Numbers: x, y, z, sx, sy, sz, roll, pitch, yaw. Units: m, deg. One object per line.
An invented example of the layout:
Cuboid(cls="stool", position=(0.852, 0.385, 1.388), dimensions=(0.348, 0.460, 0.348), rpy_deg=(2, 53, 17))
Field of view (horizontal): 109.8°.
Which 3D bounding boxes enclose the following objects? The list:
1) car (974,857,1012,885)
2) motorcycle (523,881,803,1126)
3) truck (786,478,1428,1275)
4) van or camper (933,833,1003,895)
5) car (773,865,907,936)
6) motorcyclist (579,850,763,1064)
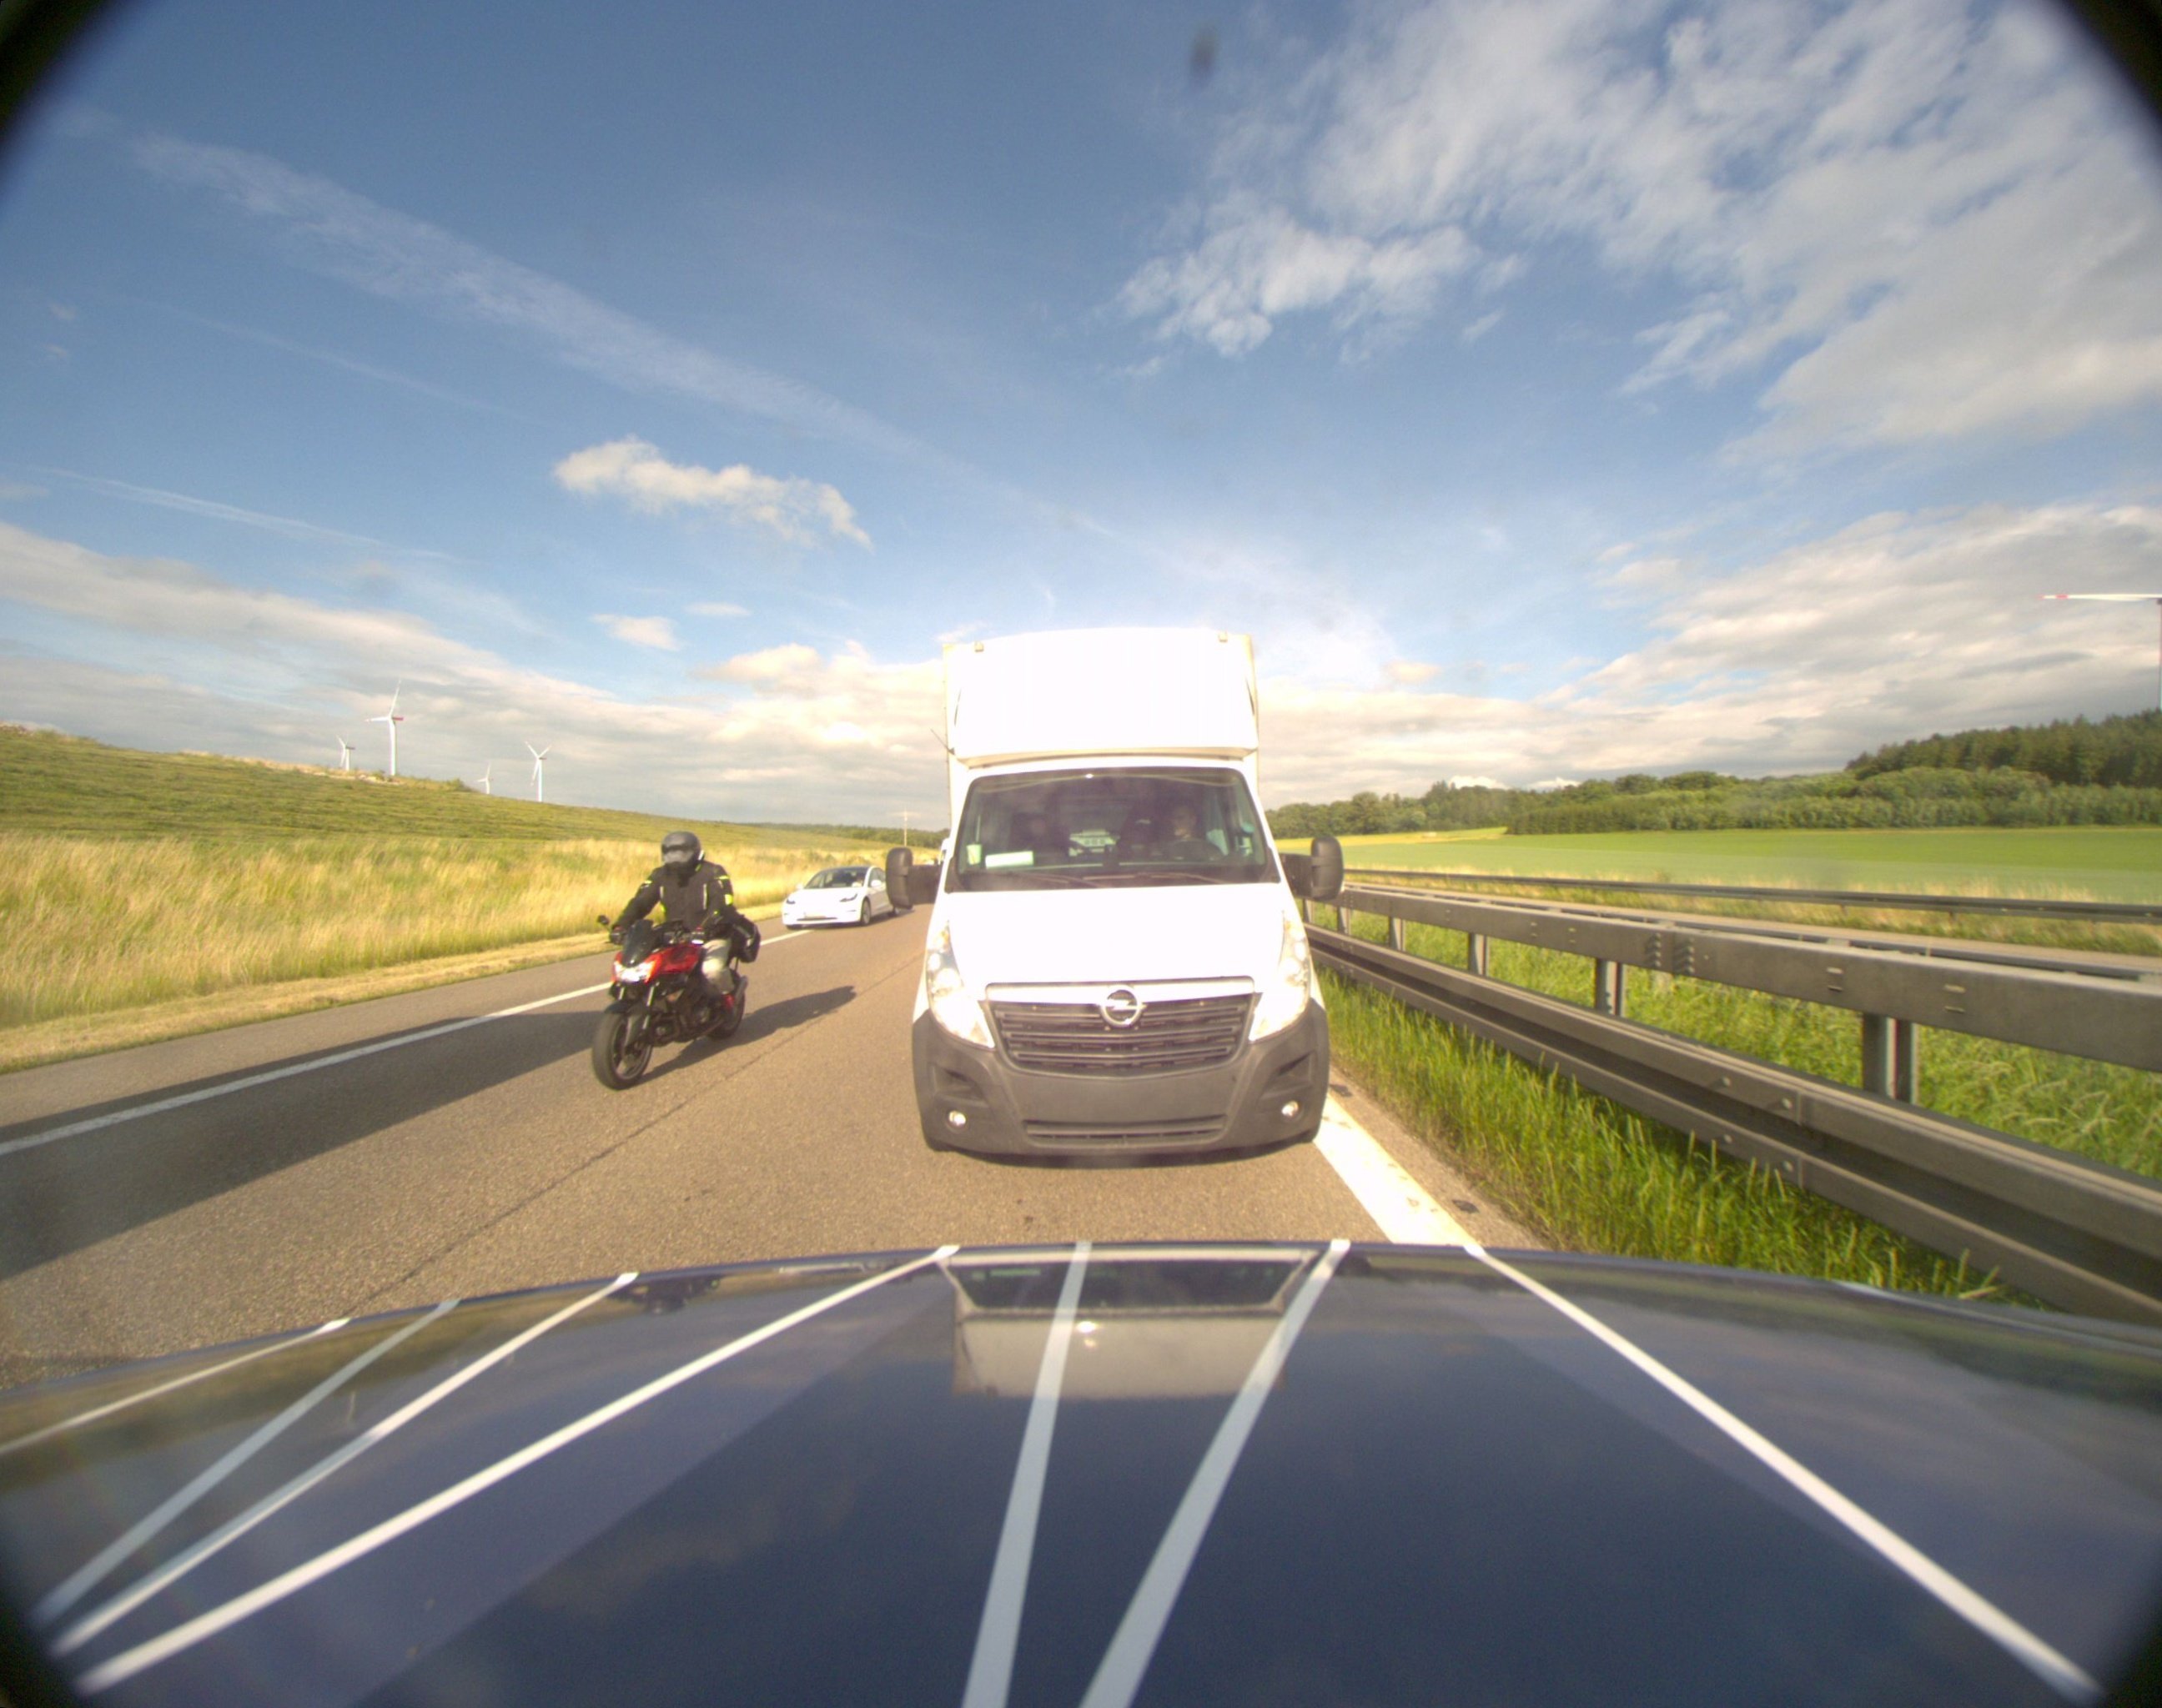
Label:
Cuboid(cls="car", position=(-5.104, 0.947, 44.613), dimensions=(1.650, 1.485, 3.999), rpy_deg=(-1, 1, 1))
Cuboid(cls="motorcycle", position=(-3.099, 1.004, 6.019), dimensions=(0.898, 1.447, 2.269), rpy_deg=(-1, 1, 0))
Cuboid(cls="truck", position=(0.102, 0.103, 8.634), dimensions=(2.502, 3.141, 11.162), rpy_deg=(-1, 0, 0))
Cuboid(cls="van or camper", position=(-5.048, 0.359, 34.867), dimensions=(2.102, 2.530, 6.412), rpy_deg=(-1, 1, 1))
Cuboid(cls="car", position=(-5.855, 1.061, 19.109), dimensions=(1.871, 1.409, 4.461), rpy_deg=(-1, 1, 1))
Cuboid(cls="motorcyclist", position=(-3.124, 0.742, 5.894), dimensions=(0.898, 1.520, 0.863), rpy_deg=(-1, 1, 0))
